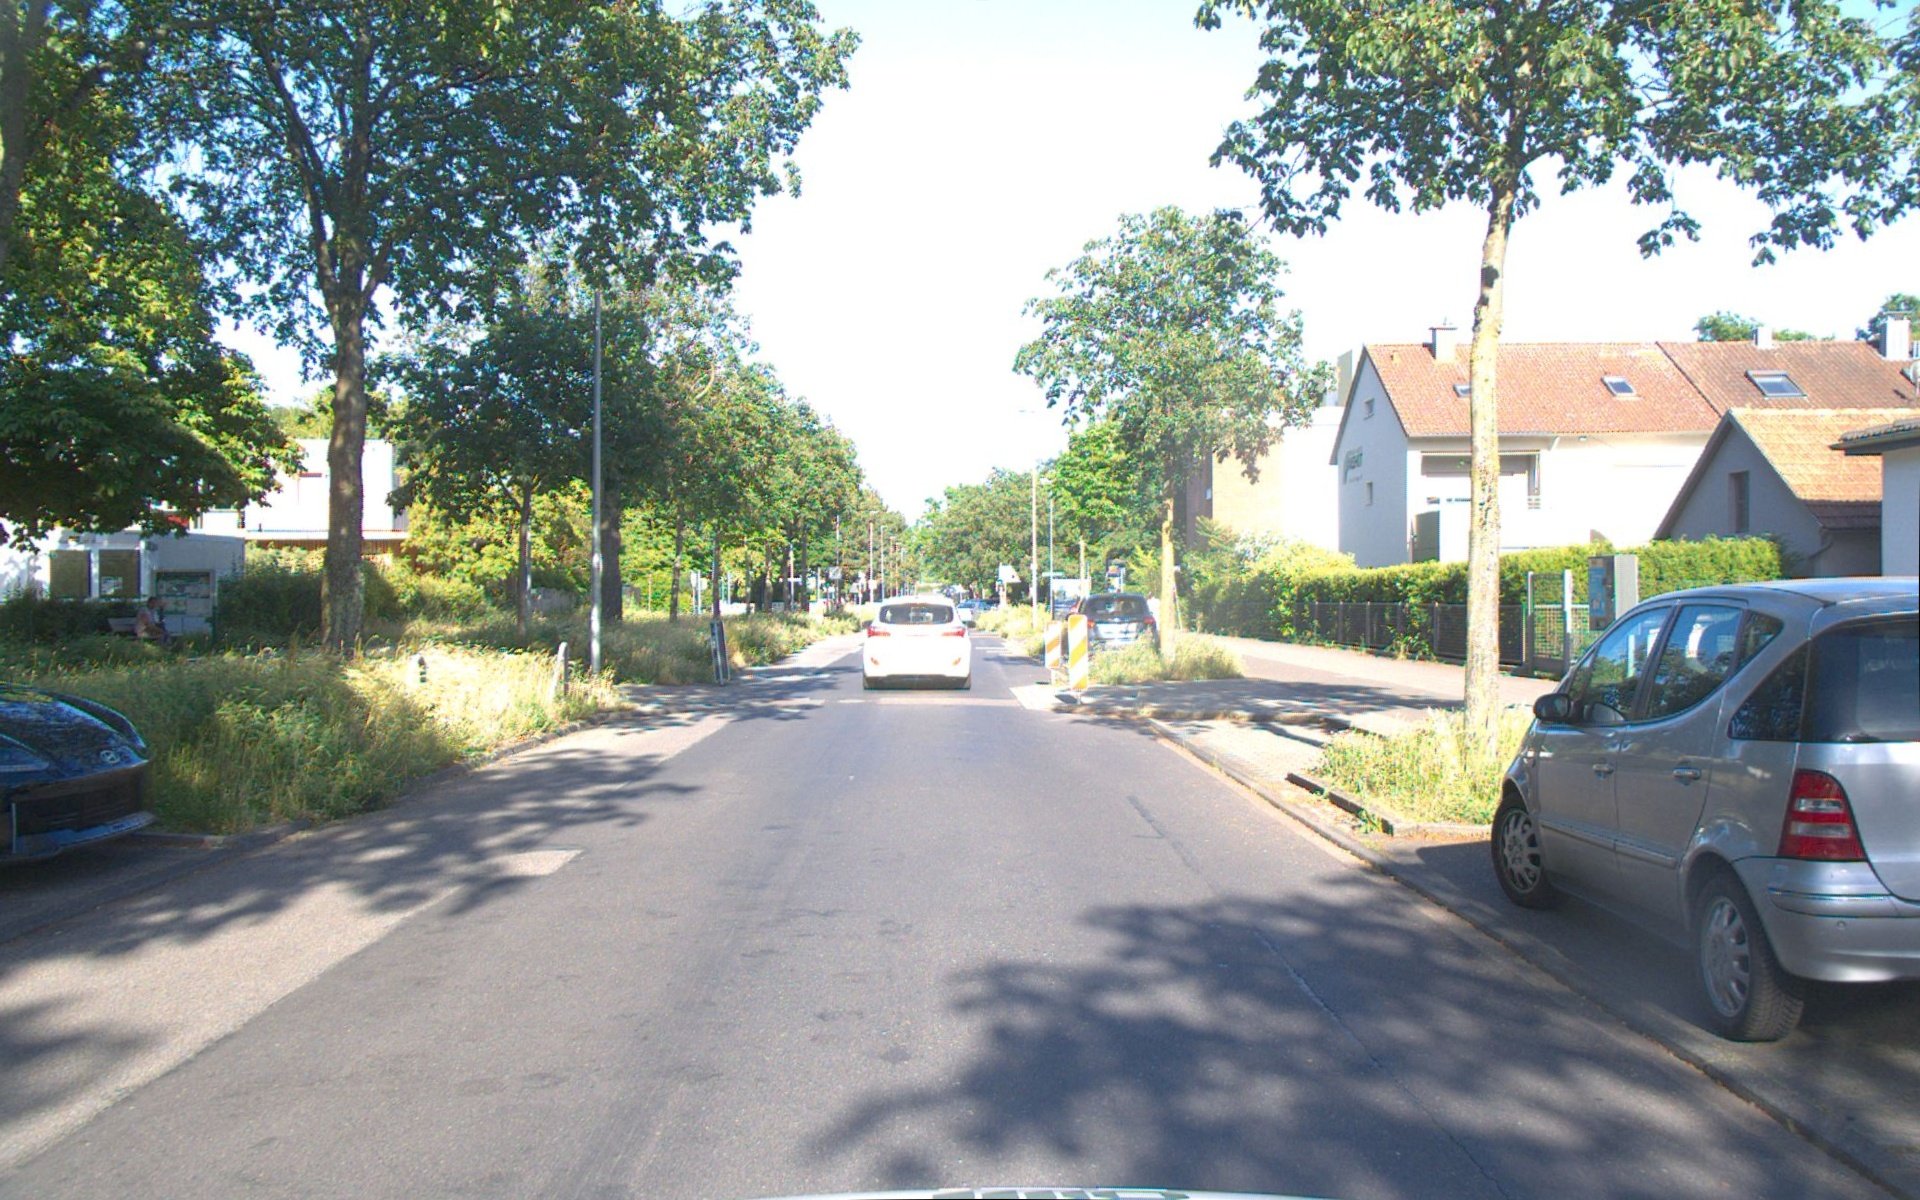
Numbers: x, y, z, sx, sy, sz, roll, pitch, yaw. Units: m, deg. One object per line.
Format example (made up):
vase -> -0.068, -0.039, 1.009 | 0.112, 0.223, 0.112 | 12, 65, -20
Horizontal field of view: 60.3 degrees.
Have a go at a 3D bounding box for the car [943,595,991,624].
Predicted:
car -> 0.439, 0.561, 97.019 | 1.951, 1.534, 3.661 | 3, 0, 13

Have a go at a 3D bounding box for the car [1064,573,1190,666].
car -> 3.378, 0.397, 34.276 | 1.954, 1.758, 3.997 | -2, 0, -3

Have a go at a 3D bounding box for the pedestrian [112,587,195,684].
pedestrian -> -15.971, 0.692, 32.792 | 1.206, 1.859, 1.543 | 2, -1, -18

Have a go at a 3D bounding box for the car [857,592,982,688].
car -> -0.671, 0.611, 27.980 | 1.953, 1.480, 4.224 | 0, 1, -1

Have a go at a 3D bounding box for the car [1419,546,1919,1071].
car -> 3.518, 0.693, 7.454 | 1.577, 1.650, 4.381 | 3, 0, -1

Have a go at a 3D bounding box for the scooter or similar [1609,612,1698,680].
scooter or similar -> 9.459, 0.617, 22.598 | 0.361, 0.873, 1.407 | 0, 0, -14

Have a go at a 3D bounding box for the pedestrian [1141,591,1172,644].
pedestrian -> 7.739, 0.679, 65.190 | 1.090, 2.049, 0.921 | 0, 0, -1

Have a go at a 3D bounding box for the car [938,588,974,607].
car -> -0.437, -0.280, 181.970 | 3.907, 2.049, 1.999 | 0, 0, -2

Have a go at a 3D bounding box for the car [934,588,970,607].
car -> -0.908, -0.267, 184.671 | 3.907, 2.049, 1.999 | 0, 0, -2

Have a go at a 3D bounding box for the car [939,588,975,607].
car -> -0.345, -0.242, 179.403 | 3.907, 2.049, 1.999 | 0, 0, -2

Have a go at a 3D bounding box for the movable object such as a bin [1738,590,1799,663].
movable object such as a bin -> 12.072, 0.389, 24.699 | 0.483, 1.049, 0.747 | -3, 0, -2

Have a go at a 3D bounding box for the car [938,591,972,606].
car -> -0.618, -0.167, 194.833 | 3.908, 1.780, 1.999 | 0, 0, -4

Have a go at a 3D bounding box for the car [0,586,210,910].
car -> -6.593, 0.673, 8.853 | 4.279, 1.558, 1.807 | 1, 0, -2

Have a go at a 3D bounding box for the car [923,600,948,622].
car -> -1.809, 0.801, 121.917 | 1.780, 1.534, 3.657 | 3, 0, -1

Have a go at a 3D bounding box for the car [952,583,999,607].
car -> 1.331, -0.433, 142.566 | 3.907, 2.049, 1.999 | 0, 0, -2
